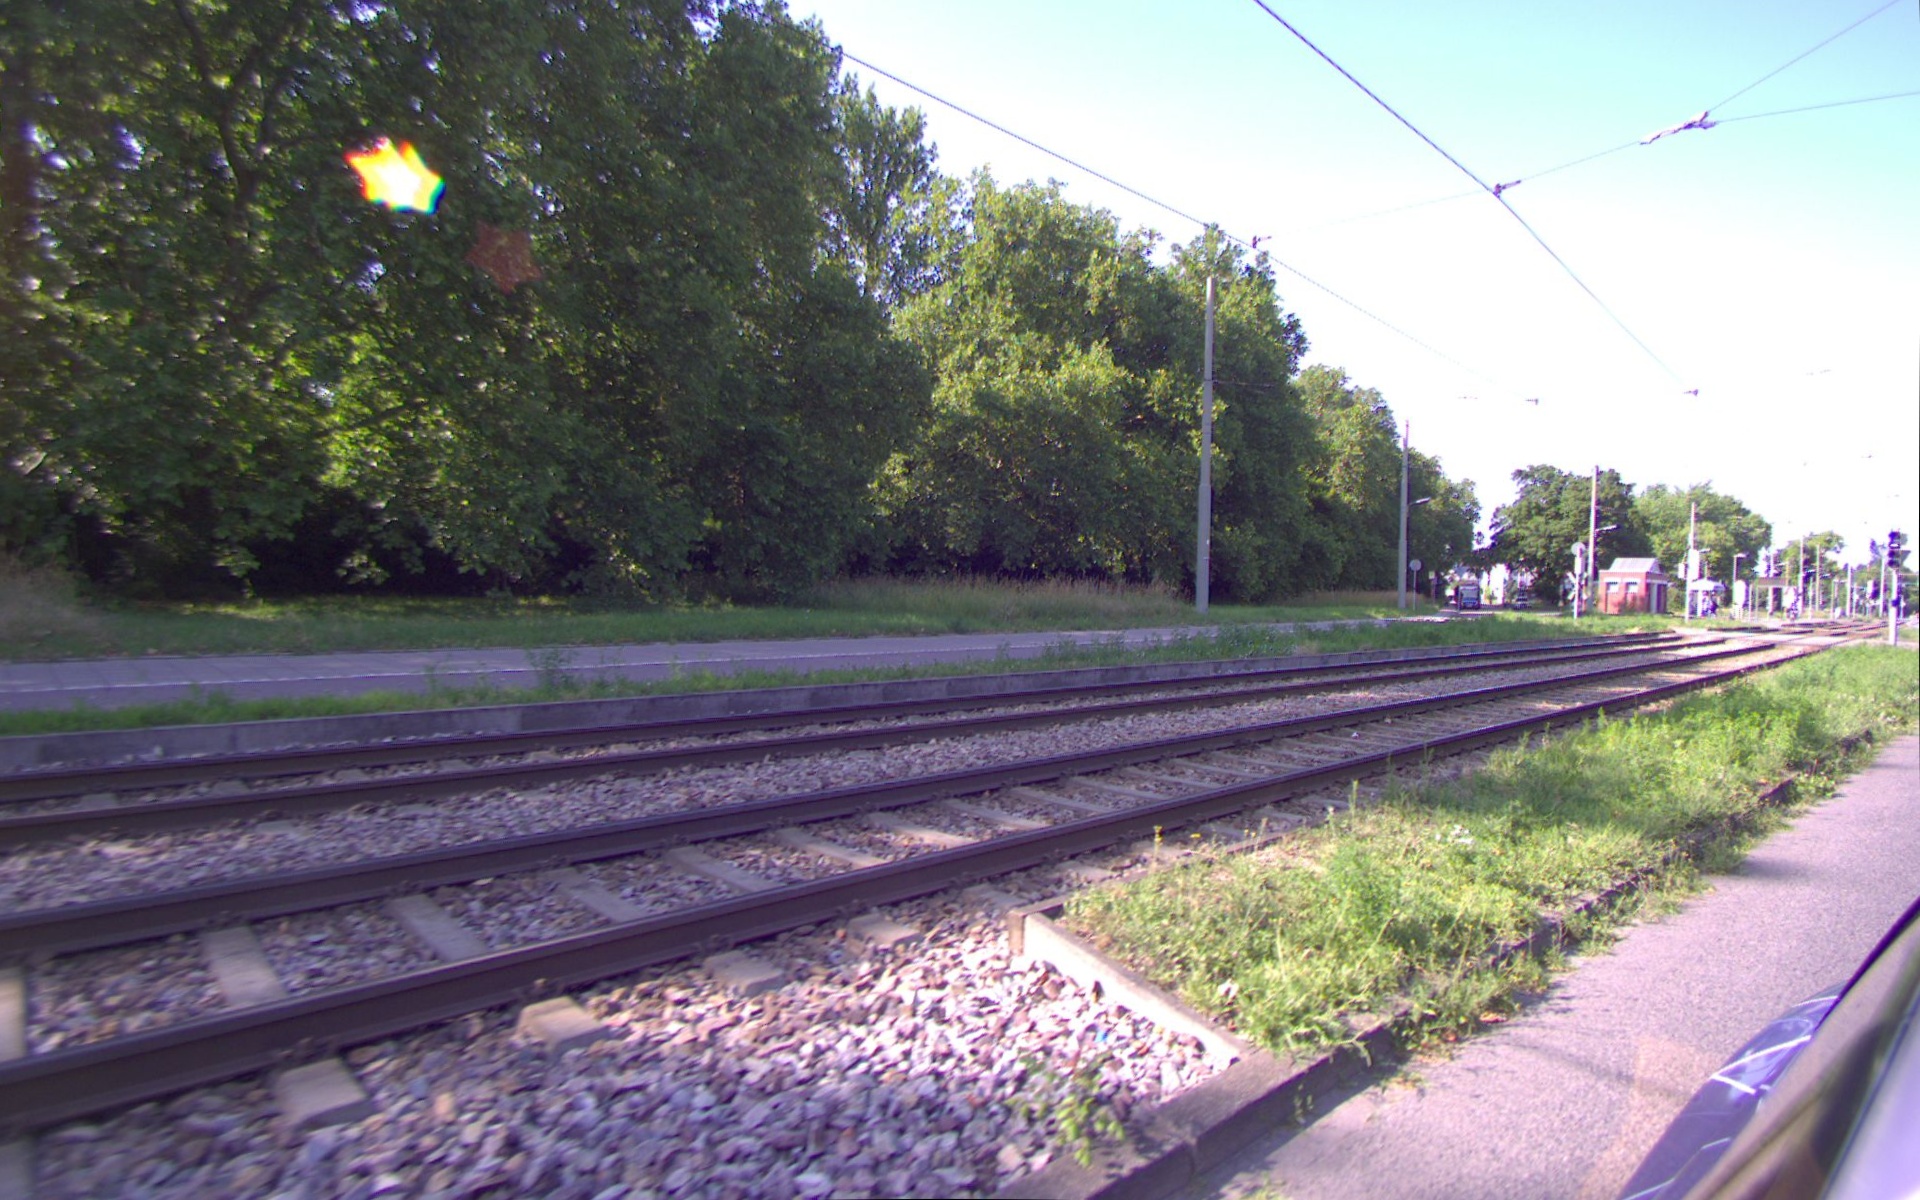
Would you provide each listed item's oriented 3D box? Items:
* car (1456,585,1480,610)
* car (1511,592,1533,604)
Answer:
[{"bbox_3d":[52.961,-0.244,105.570,1.839,2.553,3.832,0,-1,22],"label":"car"},{"bbox_3d":[69.475,-0.272,125.054,1.785,1.409,3.759,2,1,20],"label":"car"}]
